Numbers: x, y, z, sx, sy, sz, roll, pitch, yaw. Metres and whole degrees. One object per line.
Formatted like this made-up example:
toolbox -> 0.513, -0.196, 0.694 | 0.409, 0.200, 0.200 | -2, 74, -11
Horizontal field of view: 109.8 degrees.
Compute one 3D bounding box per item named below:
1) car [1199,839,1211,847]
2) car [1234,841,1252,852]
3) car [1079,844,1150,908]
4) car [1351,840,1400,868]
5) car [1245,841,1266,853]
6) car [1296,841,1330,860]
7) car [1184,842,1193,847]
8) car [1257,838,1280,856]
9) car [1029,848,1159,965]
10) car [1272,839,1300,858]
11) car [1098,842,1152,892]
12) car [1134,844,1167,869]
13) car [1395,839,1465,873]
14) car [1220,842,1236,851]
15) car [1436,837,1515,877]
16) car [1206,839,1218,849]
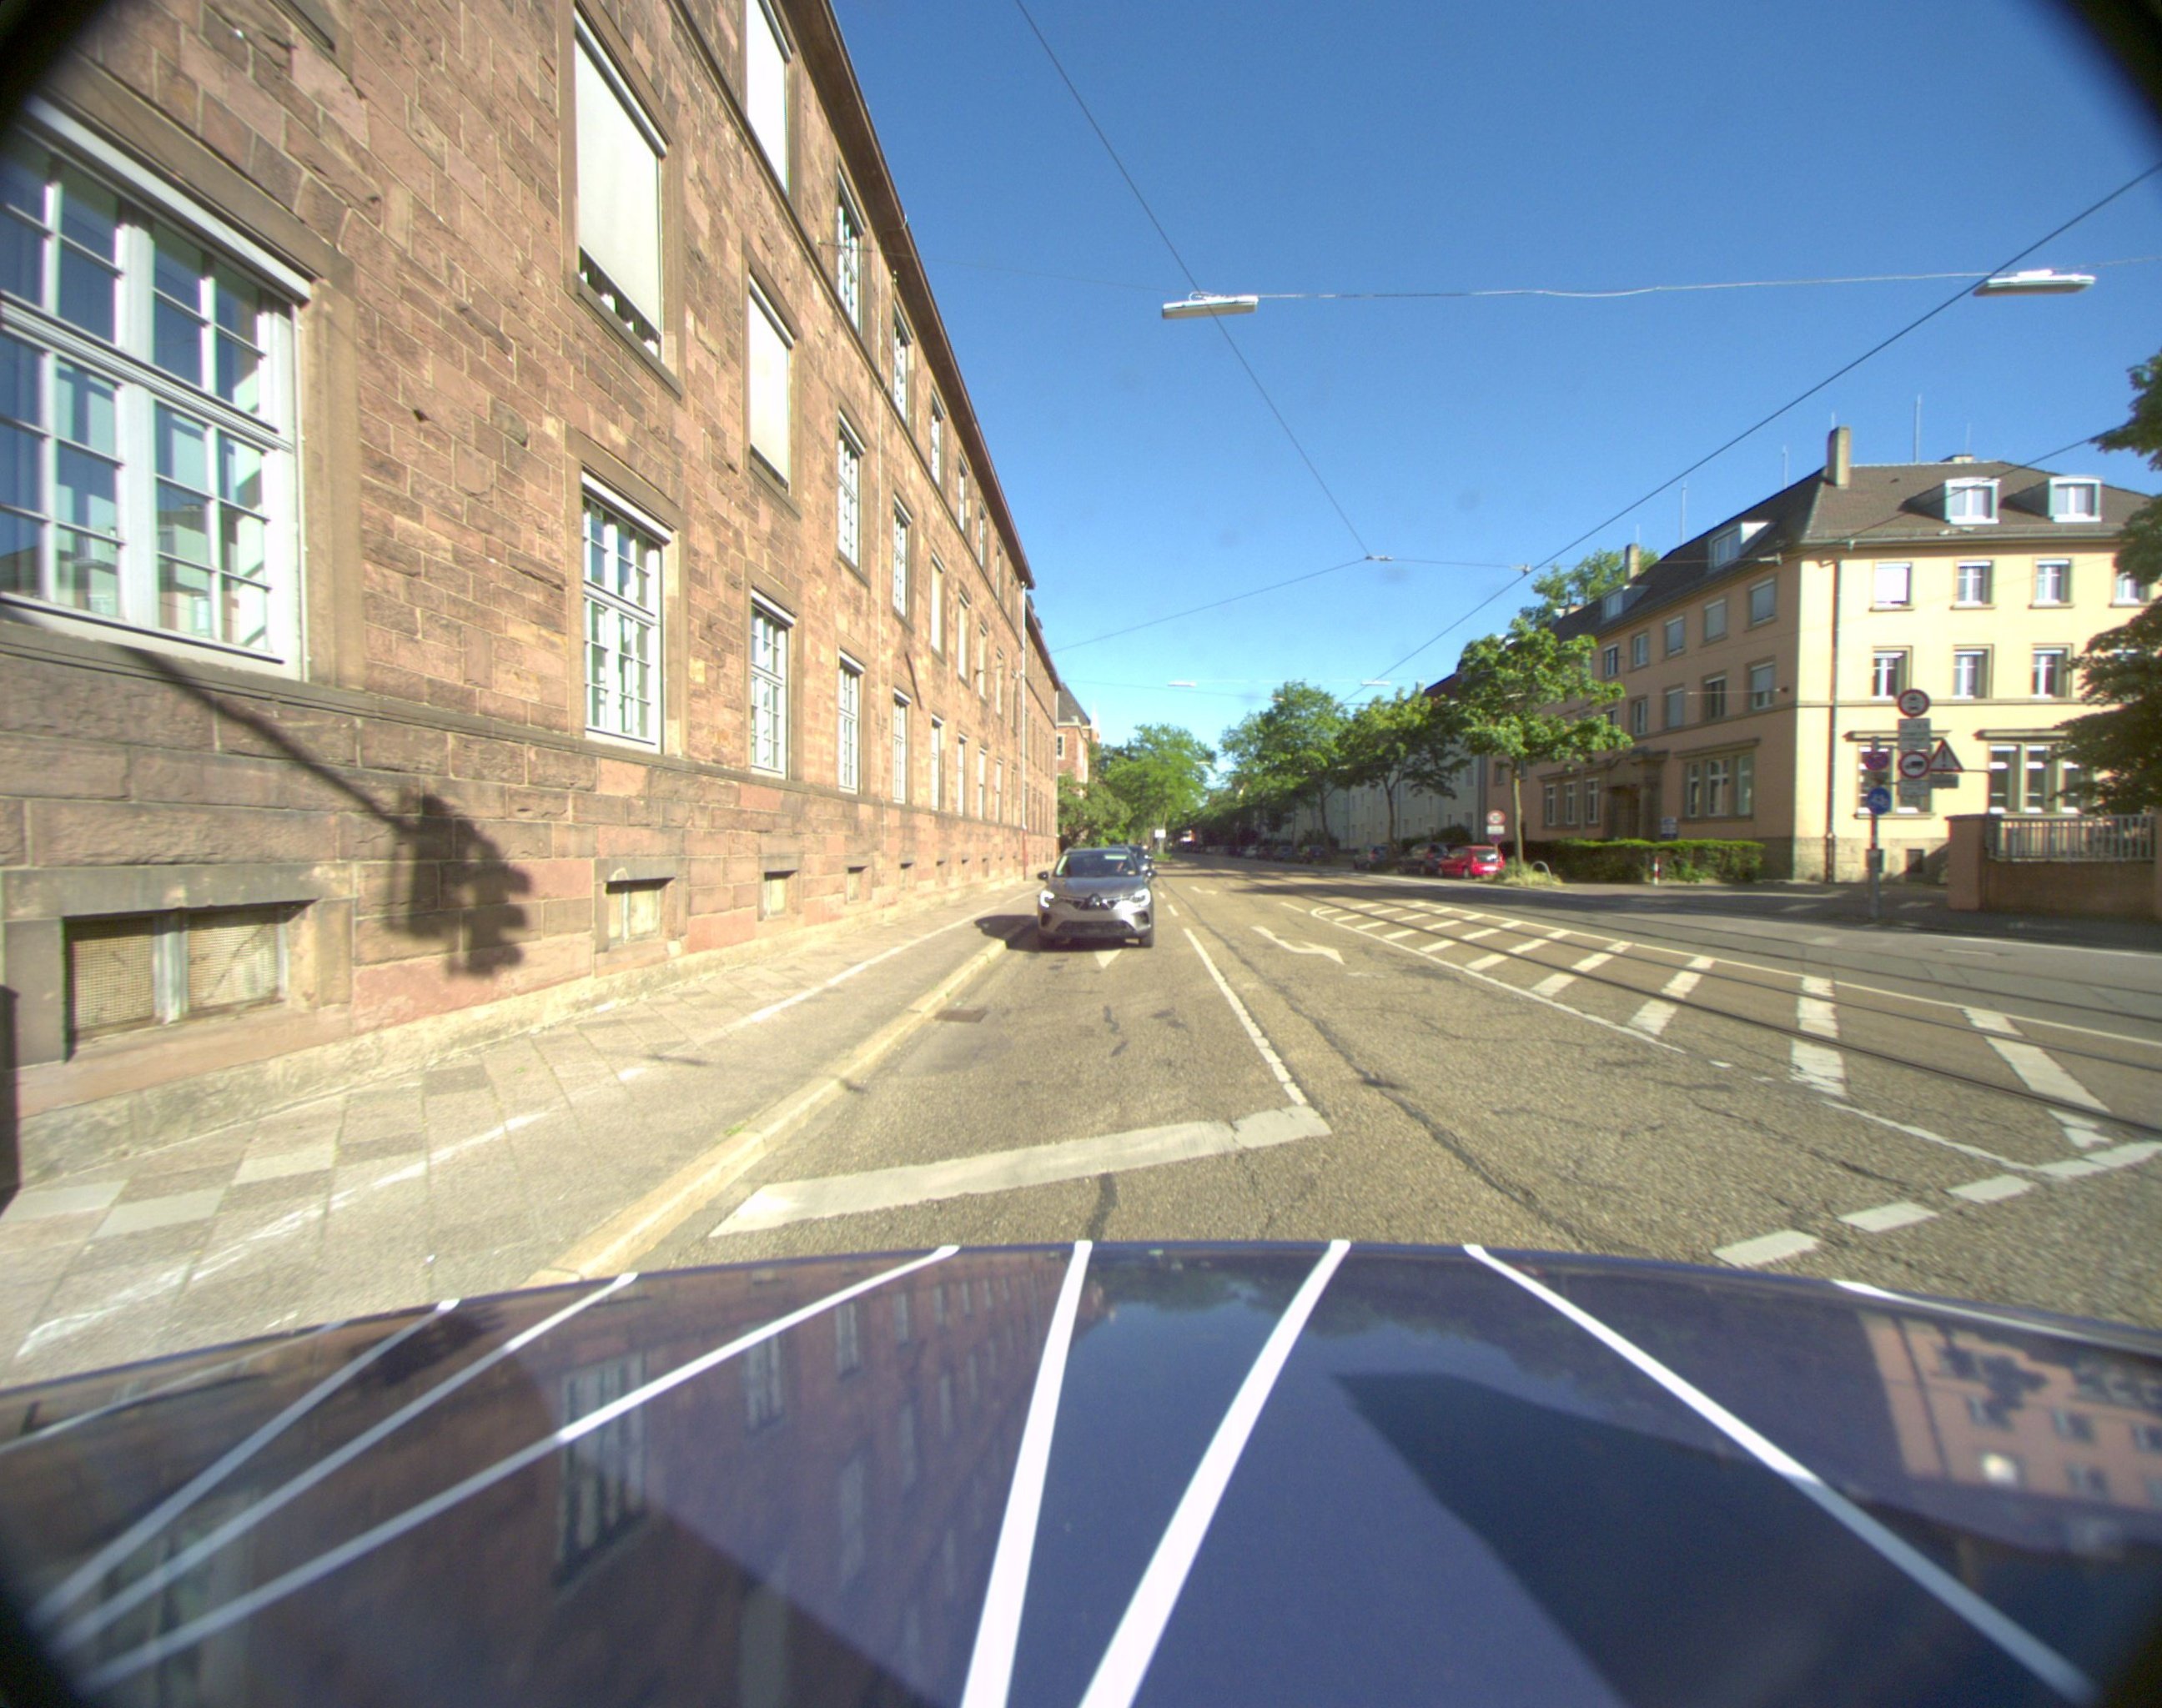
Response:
car -> 25.297, -2.227, 155.080 | 1.815, 1.514, 3.630 | 0, 1, 2
car -> 21.983, -0.999, 103.180 | 1.815, 1.411, 3.630 | 0, 1, 2
car -> 0.920, 0.556, 21.514 | 1.795, 1.595, 3.799 | -1, 1, 2
car -> 18.471, -0.044, 47.795 | 1.815, 1.649, 3.877 | 0, 1, 4
car -> 21.620, -0.863, 94.258 | 1.815, 1.411, 3.630 | 0, 1, 2
car -> 19.524, -0.330, 64.004 | 1.815, 1.590, 3.630 | 0, 1, 2
car -> 28.194, -2.567, 199.415 | 1.815, 1.411, 3.630 | 0, 1, 2
car -> 20.918, -0.762, 84.925 | 1.815, 1.930, 3.630 | 0, 1, 2
car -> 0.248, 0.728, 12.639 | 1.795, 1.595, 3.799 | -1, 1, 2
car -> 20.433, -0.590, 75.861 | 1.815, 1.815, 3.795 | 0, 1, 2
car -> 1.568, 0.415, 27.933 | 1.795, 1.638, 4.083 | -1, 1, 2
car -> 4.423, 0.113, 48.828 | 1.911, 1.510, 4.000 | 0, 1, 3
car -> 17.843, 0.051, 39.006 | 1.816, 1.649, 3.819 | 0, 1, 0
car -> 23.209, -1.216, 120.029 | 1.815, 1.411, 3.630 | 0, 1, 2
car -> 17.771, 0.107, 34.370 | 1.816, 1.696, 3.374 | 0, 1, 0
car -> 24.661, -1.851, 143.449 | 1.815, 1.768, 3.630 | 0, 1, 2
